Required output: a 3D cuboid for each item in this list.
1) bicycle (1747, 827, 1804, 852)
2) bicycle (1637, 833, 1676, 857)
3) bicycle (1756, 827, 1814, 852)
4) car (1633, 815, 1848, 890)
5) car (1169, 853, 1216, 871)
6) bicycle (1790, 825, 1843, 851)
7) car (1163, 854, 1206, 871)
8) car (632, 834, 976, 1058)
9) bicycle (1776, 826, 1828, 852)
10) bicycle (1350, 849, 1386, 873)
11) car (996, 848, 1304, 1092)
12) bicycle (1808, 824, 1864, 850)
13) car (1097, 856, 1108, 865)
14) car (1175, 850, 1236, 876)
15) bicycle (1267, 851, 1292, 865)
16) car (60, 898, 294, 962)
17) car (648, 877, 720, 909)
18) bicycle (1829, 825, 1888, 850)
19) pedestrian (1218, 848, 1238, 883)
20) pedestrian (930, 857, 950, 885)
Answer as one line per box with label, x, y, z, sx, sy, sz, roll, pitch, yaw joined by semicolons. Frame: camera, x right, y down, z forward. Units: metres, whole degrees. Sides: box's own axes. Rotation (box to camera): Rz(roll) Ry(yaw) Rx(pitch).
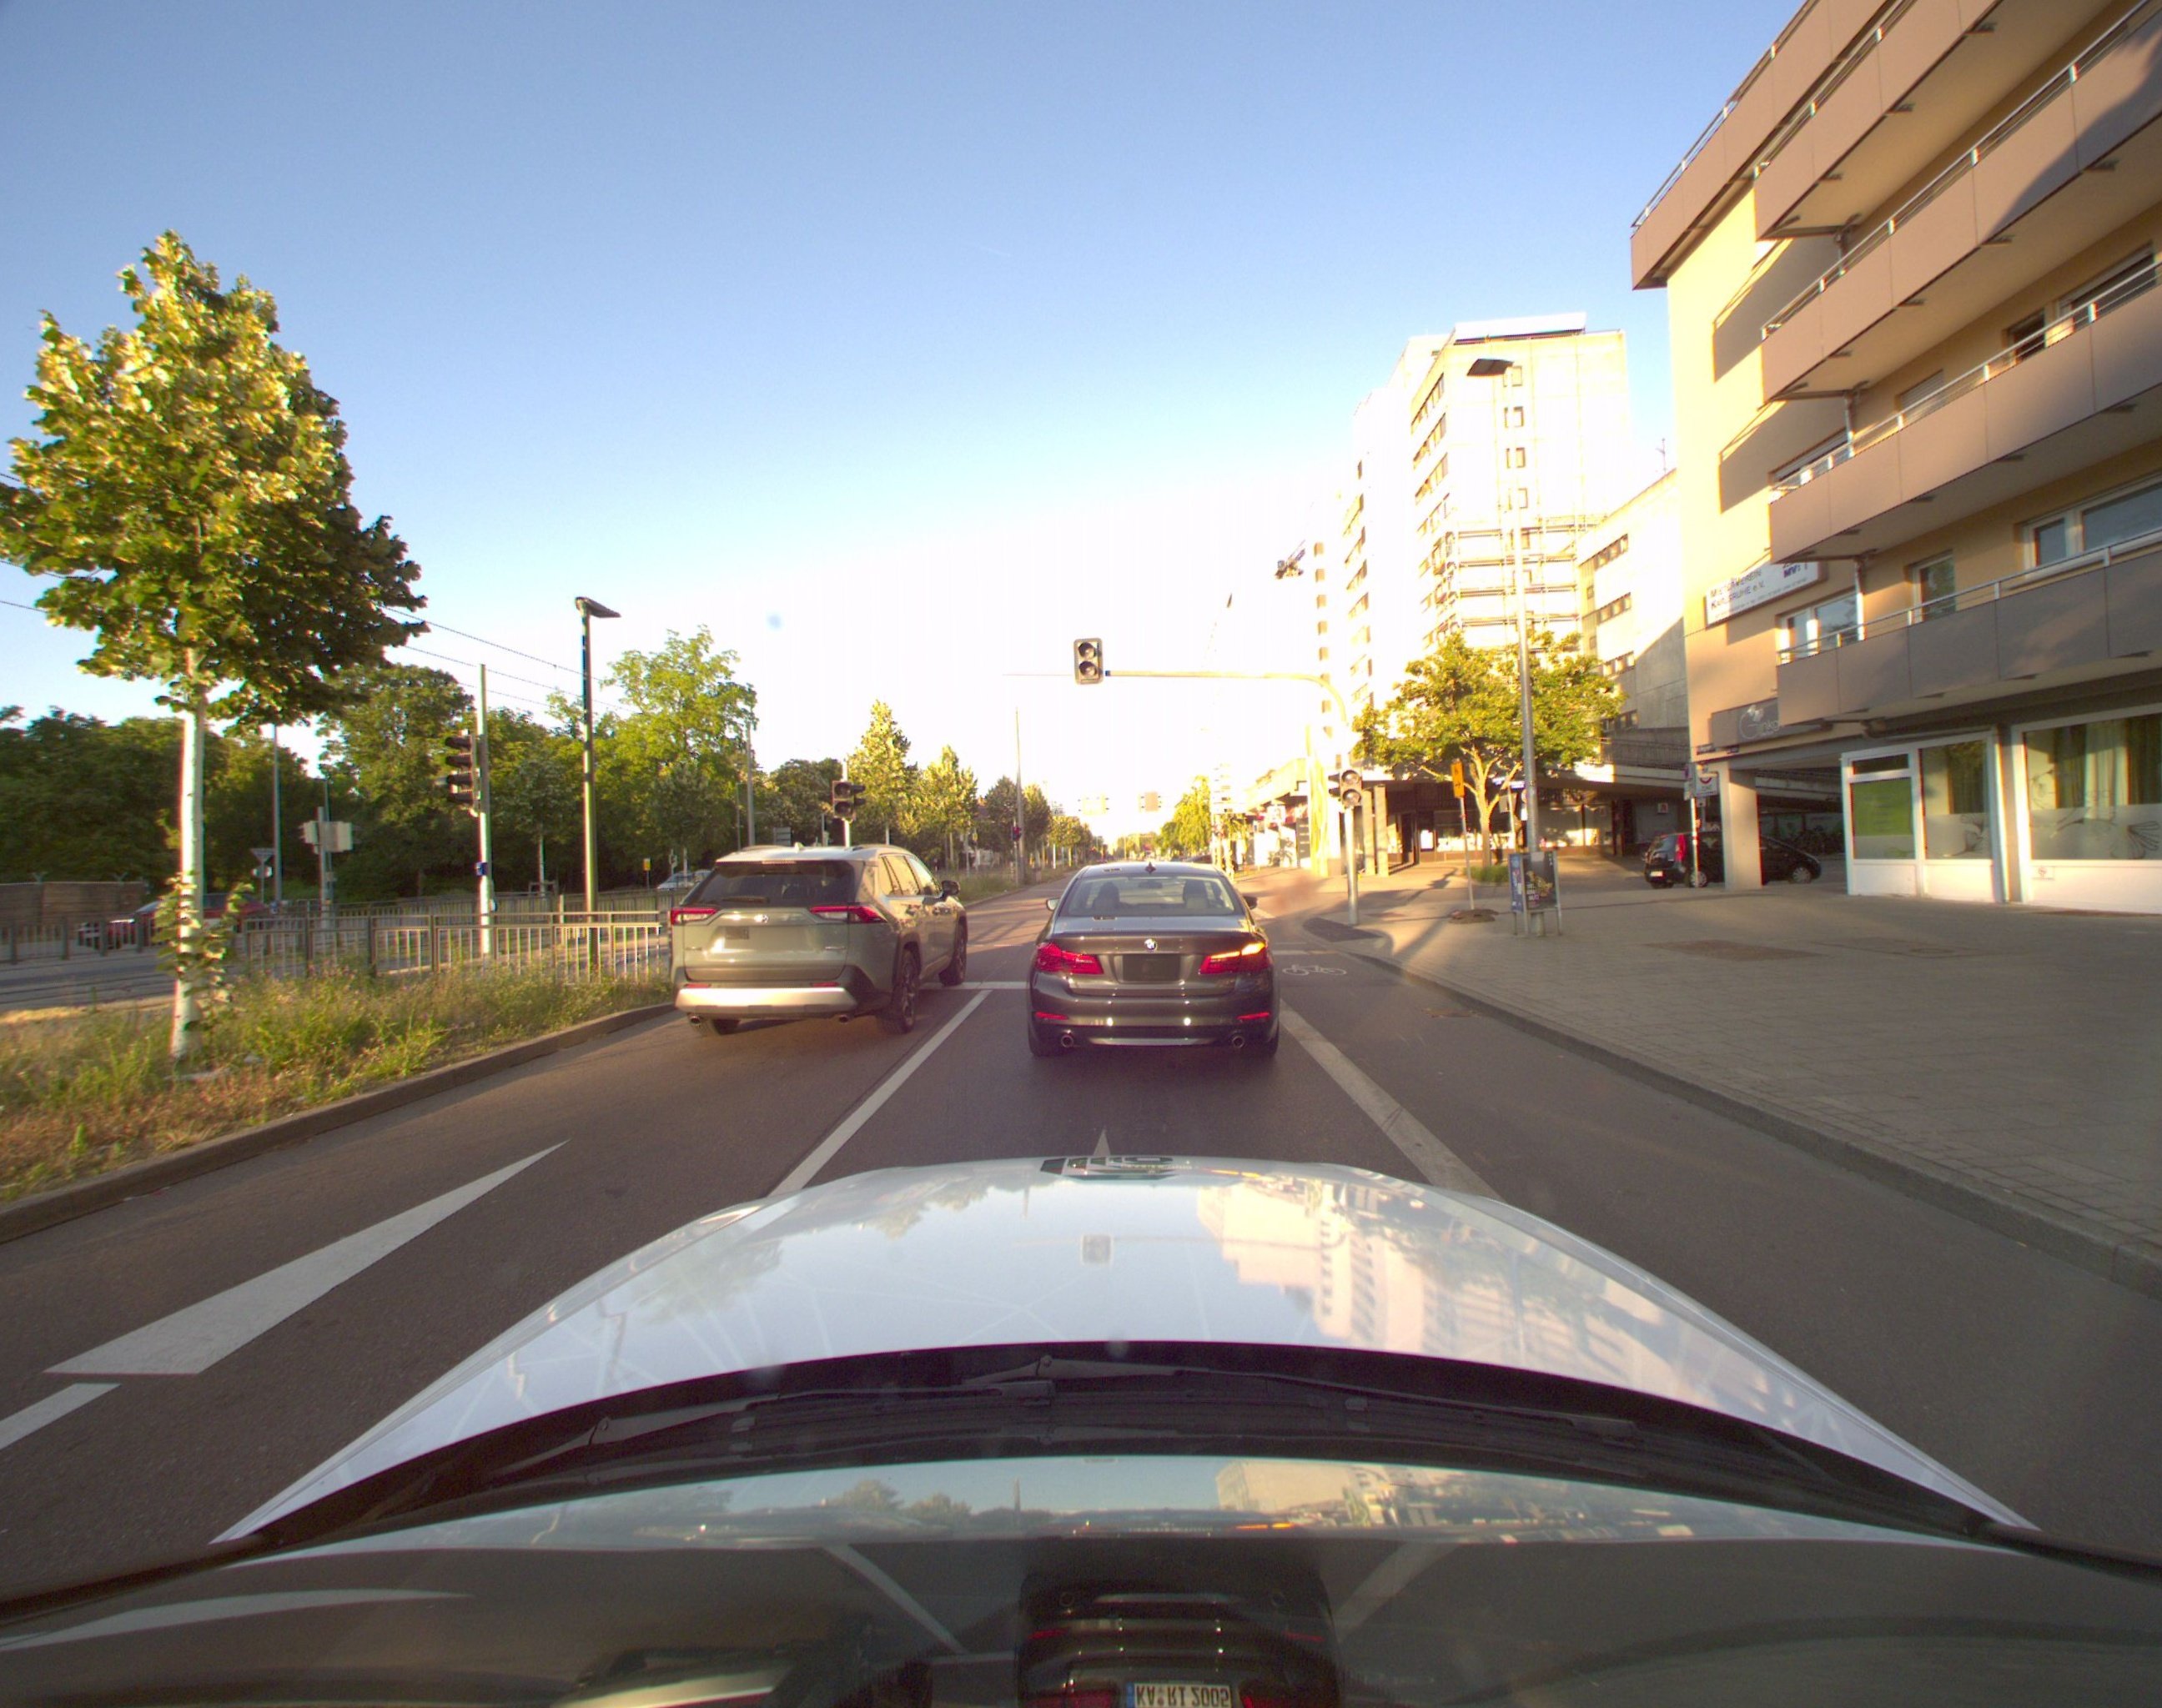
bicycle;31.816;-0.638;37.337;0.582;1.075;1.966;1;-1;-17
bicycle;26.975;-0.394;38.224;0.578;1.075;1.980;1;-1;5
bicycle;32.293;-0.654;37.395;0.583;1.075;1.963;1;-1;-21
car;17.171;0.000;21.383;4.020;1.585;1.708;-4;-4;6
car;10.799;0.759;78.727;4.285;1.658;1.841;-2;1;-34
bicycle;33.451;-0.705;37.080;0.579;1.075;1.976;1;-1;-1
car;10.805;0.840;85.285;4.284;1.658;1.841;-2;1;-33
car;-2.369;0.663;8.280;1.847;1.658;4.271;-1;1;2
bicycle;32.891;-0.670;37.177;0.579;1.075;1.976;1;-1;-1
bicycle;14.476;0.362;41.142;0.690;1.149;2.012;1;-1;-16
car;0.548;0.728;7.428;1.924;1.481;4.526;-1;1;3
bicycle;34.039;-0.755;36.755;0.579;1.075;1.974;1;-1;-4
car;3.907;1.232;147.074;1.971;1.433;4.846;-1;1;2
car;8.671;0.600;56.565;4.291;1.658;1.839;-2;1;-40
bicycle;16.759;0.370;68.736;2.005;1.149;0.692;0;-1;8
car;-27.805;2.274;25.333;1.984;1.481;4.530;-1;1;5
car;-21.217;2.065;43.680;1.792;1.481;3.786;-2;0;3
bicycle;35.282;-0.732;36.980;0.580;1.075;1.971;1;-1;-9
pedestrian;7.549;0.585;41.751;0.832;1.712;0.648;-2;-1;1
pedestrian;-8.119;0.959;46.837;0.829;1.586;0.815;-3;-1;13
